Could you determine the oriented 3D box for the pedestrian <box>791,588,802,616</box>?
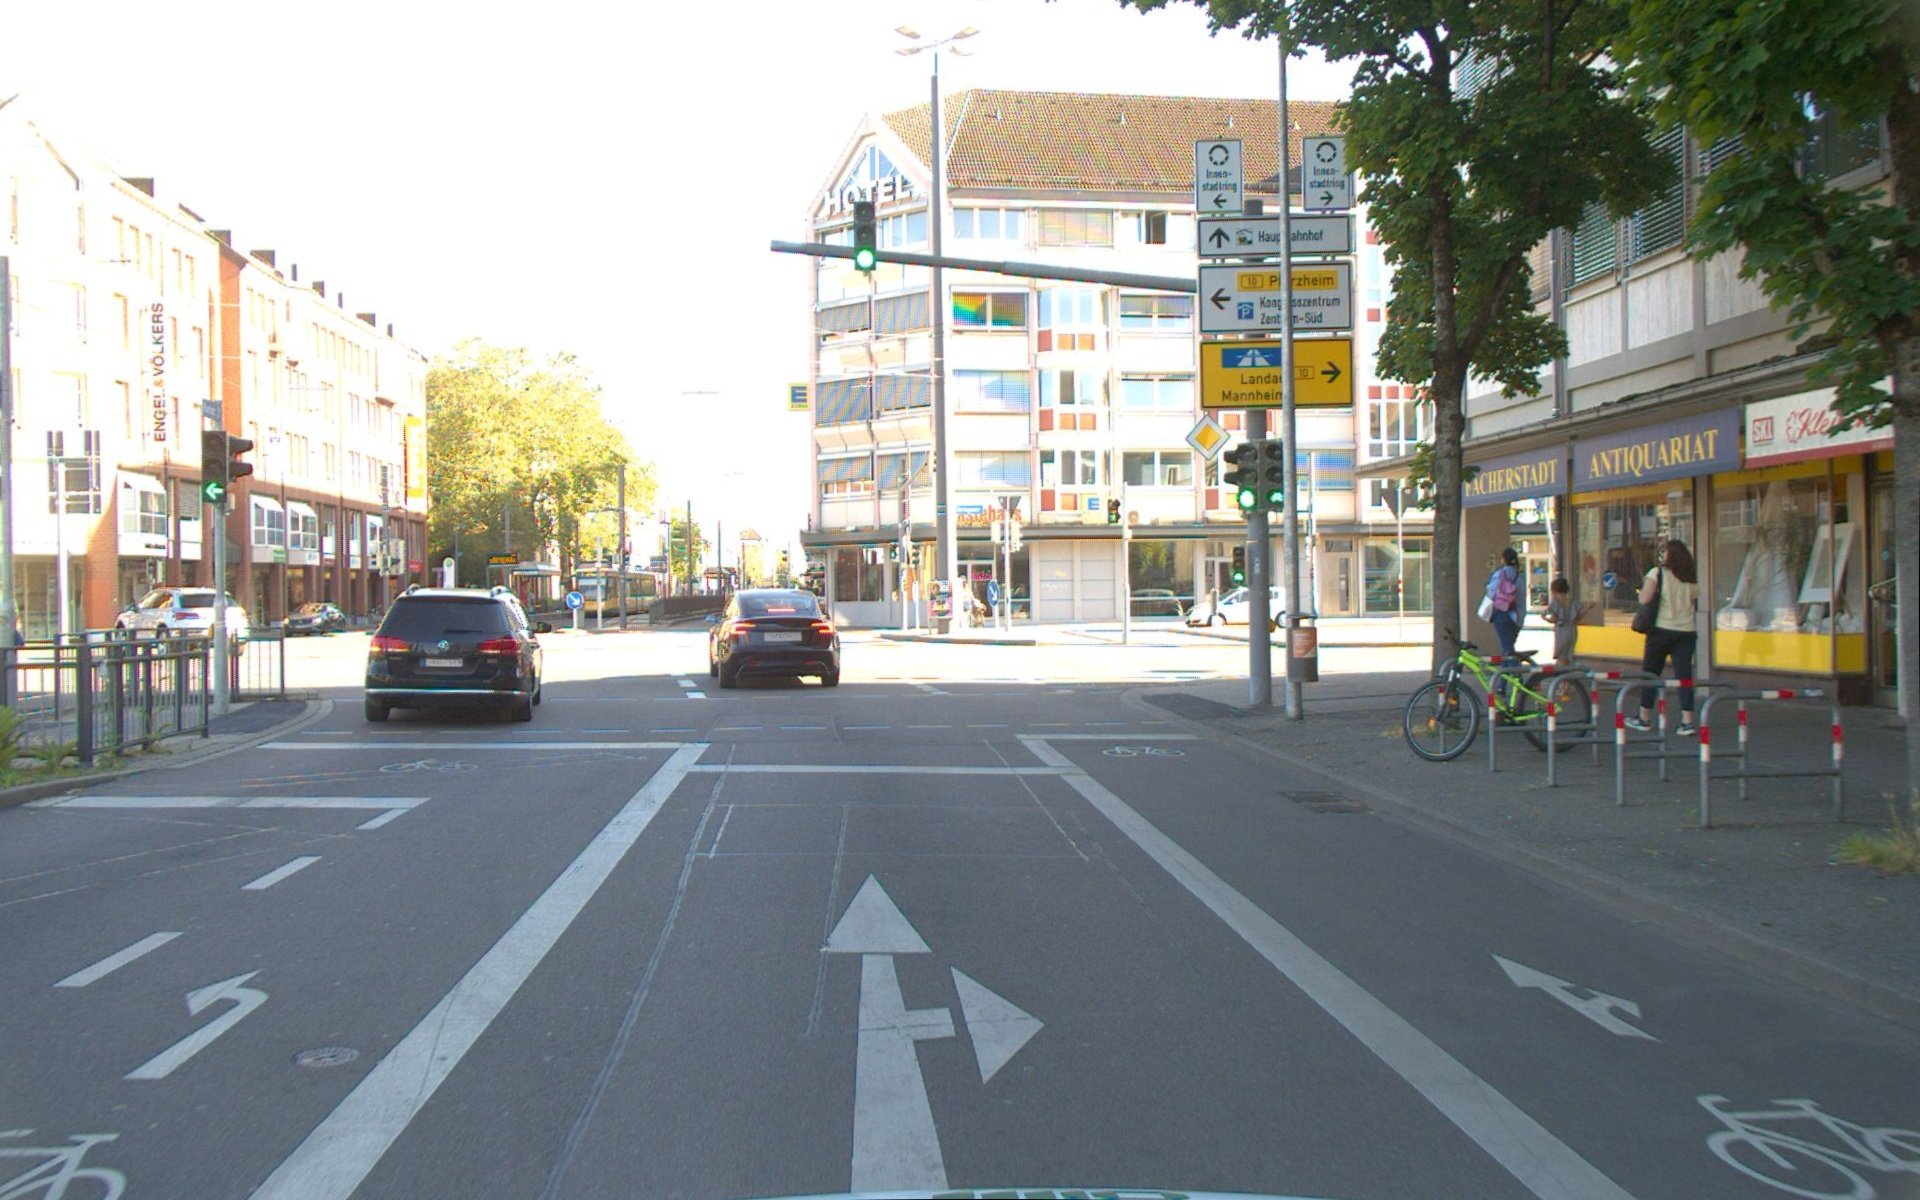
[{"bbox_3d":[-11.316,0.156,114.347,0.683,1.930,0.749,-1,-1,-4],"label":"pedestrian"}]

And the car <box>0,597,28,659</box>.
[{"bbox_3d":[-27.351,0.780,45.288,3.701,1.646,1.575,-1,-1,30],"label":"car"}]

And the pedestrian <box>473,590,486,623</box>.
[{"bbox_3d":[-23.146,0.312,79.634,0.575,1.558,0.634,0,-1,-19],"label":"pedestrian"}]

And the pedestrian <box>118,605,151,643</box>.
[{"bbox_3d":[-34.919,1.029,69.964,0.866,1.595,0.864,-1,-1,19],"label":"pedestrian"}]

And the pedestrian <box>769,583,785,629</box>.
[{"bbox_3d":[-7.245,0.243,65.545,0.614,1.813,0.916,0,-1,-7],"label":"pedestrian"}]

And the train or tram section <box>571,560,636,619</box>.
[{"bbox_3d":[-22.729,-0.604,106.044,2.675,3.604,10.077,-1,-1,-4],"label":"train or tram section"}]

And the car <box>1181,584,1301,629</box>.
[{"bbox_3d":[9.828,0.247,58.043,3.768,1.457,1.800,-1,-2,-8],"label":"car"}]

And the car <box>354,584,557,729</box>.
[{"bbox_3d":[-5.710,0.573,19.197,1.733,1.469,4.517,0,0,-11],"label":"car"}]

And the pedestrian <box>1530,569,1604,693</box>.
[{"bbox_3d":[7.238,0.369,19.741,0.631,1.447,0.621,-1,-1,-1],"label":"pedestrian"}]

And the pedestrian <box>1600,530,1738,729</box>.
[{"bbox_3d":[6.380,0.259,14.927,0.826,1.737,0.879,-1,-1,-3],"label":"pedestrian"}]

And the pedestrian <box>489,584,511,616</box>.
[{"bbox_3d":[-24.754,0.004,89.023,1.086,1.653,0.845,0,-1,-13],"label":"pedestrian"}]

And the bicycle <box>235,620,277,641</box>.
[{"bbox_3d":[-32.654,1.414,76.705,1.678,0.916,0.520,-1,-1,-7],"label":"bicycle"}]

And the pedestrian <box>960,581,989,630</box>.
[{"bbox_3d":[0.485,0.170,54.925,0.767,1.604,0.863,0,1,-17],"label":"pedestrian"}]

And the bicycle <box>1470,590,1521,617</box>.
[{"bbox_3d":[21.356,0.131,65.944,1.931,1.068,0.535,-1,-1,-11],"label":"bicycle"}]

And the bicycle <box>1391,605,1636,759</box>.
[{"bbox_3d":[4.639,0.678,13.908,1.852,1.177,0.480,-3,-1,-2],"label":"bicycle"}]

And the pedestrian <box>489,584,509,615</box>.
[{"bbox_3d":[-24.545,-0.024,88.078,0.982,1.653,0.845,0,-1,-13],"label":"pedestrian"}]

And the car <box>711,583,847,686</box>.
[{"bbox_3d":[-2.896,0.500,25.827,1.759,1.476,3.928,0,0,-11],"label":"car"}]

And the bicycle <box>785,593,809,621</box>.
[{"bbox_3d":[-7.116,0.316,72.130,0.481,1.181,1.960,0,-1,-22],"label":"bicycle"}]

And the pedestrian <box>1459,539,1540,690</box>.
[{"bbox_3d":[6.412,0.179,19.699,0.825,1.751,0.880,-1,-1,13],"label":"pedestrian"}]

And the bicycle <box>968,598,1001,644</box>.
[{"bbox_3d":[0.823,0.687,55.033,0.573,1.489,1.678,-1,0,-17],"label":"bicycle"}]

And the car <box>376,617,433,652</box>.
[{"bbox_3d":[-26.980,1.659,80.436,1.783,1.571,3.786,-3,0,-7],"label":"car"}]

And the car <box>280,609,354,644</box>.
[{"bbox_3d":[-28.837,1.168,74.280,1.780,1.479,3.977,-3,0,-1],"label":"car"}]

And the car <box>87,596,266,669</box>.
[{"bbox_3d":[-18.614,0.772,39.364,3.400,1.663,1.847,-1,-1,9],"label":"car"}]

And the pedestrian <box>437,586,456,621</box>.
[{"bbox_3d":[-24.029,0.159,77.355,0.622,1.591,0.586,-1,-1,14],"label":"pedestrian"}]

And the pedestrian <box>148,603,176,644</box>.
[{"bbox_3d":[-31.713,0.935,65.765,0.698,1.622,0.776,2,-1,-5],"label":"pedestrian"}]

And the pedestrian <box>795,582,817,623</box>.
[{"bbox_3d":[-6.716,0.119,72.084,0.896,1.785,0.839,-1,-1,-3],"label":"pedestrian"}]

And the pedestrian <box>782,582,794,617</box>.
[{"bbox_3d":[-7.758,-0.013,74.586,0.464,1.590,0.542,0,-1,-17],"label":"pedestrian"}]

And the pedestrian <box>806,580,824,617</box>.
[{"bbox_3d":[-6.735,-0.050,76.892,0.676,1.718,0.668,0,-1,-19],"label":"pedestrian"}]

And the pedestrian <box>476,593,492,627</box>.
[{"bbox_3d":[-24.853,0.537,86.355,0.622,1.751,0.585,-1,-1,4],"label":"pedestrian"}]
